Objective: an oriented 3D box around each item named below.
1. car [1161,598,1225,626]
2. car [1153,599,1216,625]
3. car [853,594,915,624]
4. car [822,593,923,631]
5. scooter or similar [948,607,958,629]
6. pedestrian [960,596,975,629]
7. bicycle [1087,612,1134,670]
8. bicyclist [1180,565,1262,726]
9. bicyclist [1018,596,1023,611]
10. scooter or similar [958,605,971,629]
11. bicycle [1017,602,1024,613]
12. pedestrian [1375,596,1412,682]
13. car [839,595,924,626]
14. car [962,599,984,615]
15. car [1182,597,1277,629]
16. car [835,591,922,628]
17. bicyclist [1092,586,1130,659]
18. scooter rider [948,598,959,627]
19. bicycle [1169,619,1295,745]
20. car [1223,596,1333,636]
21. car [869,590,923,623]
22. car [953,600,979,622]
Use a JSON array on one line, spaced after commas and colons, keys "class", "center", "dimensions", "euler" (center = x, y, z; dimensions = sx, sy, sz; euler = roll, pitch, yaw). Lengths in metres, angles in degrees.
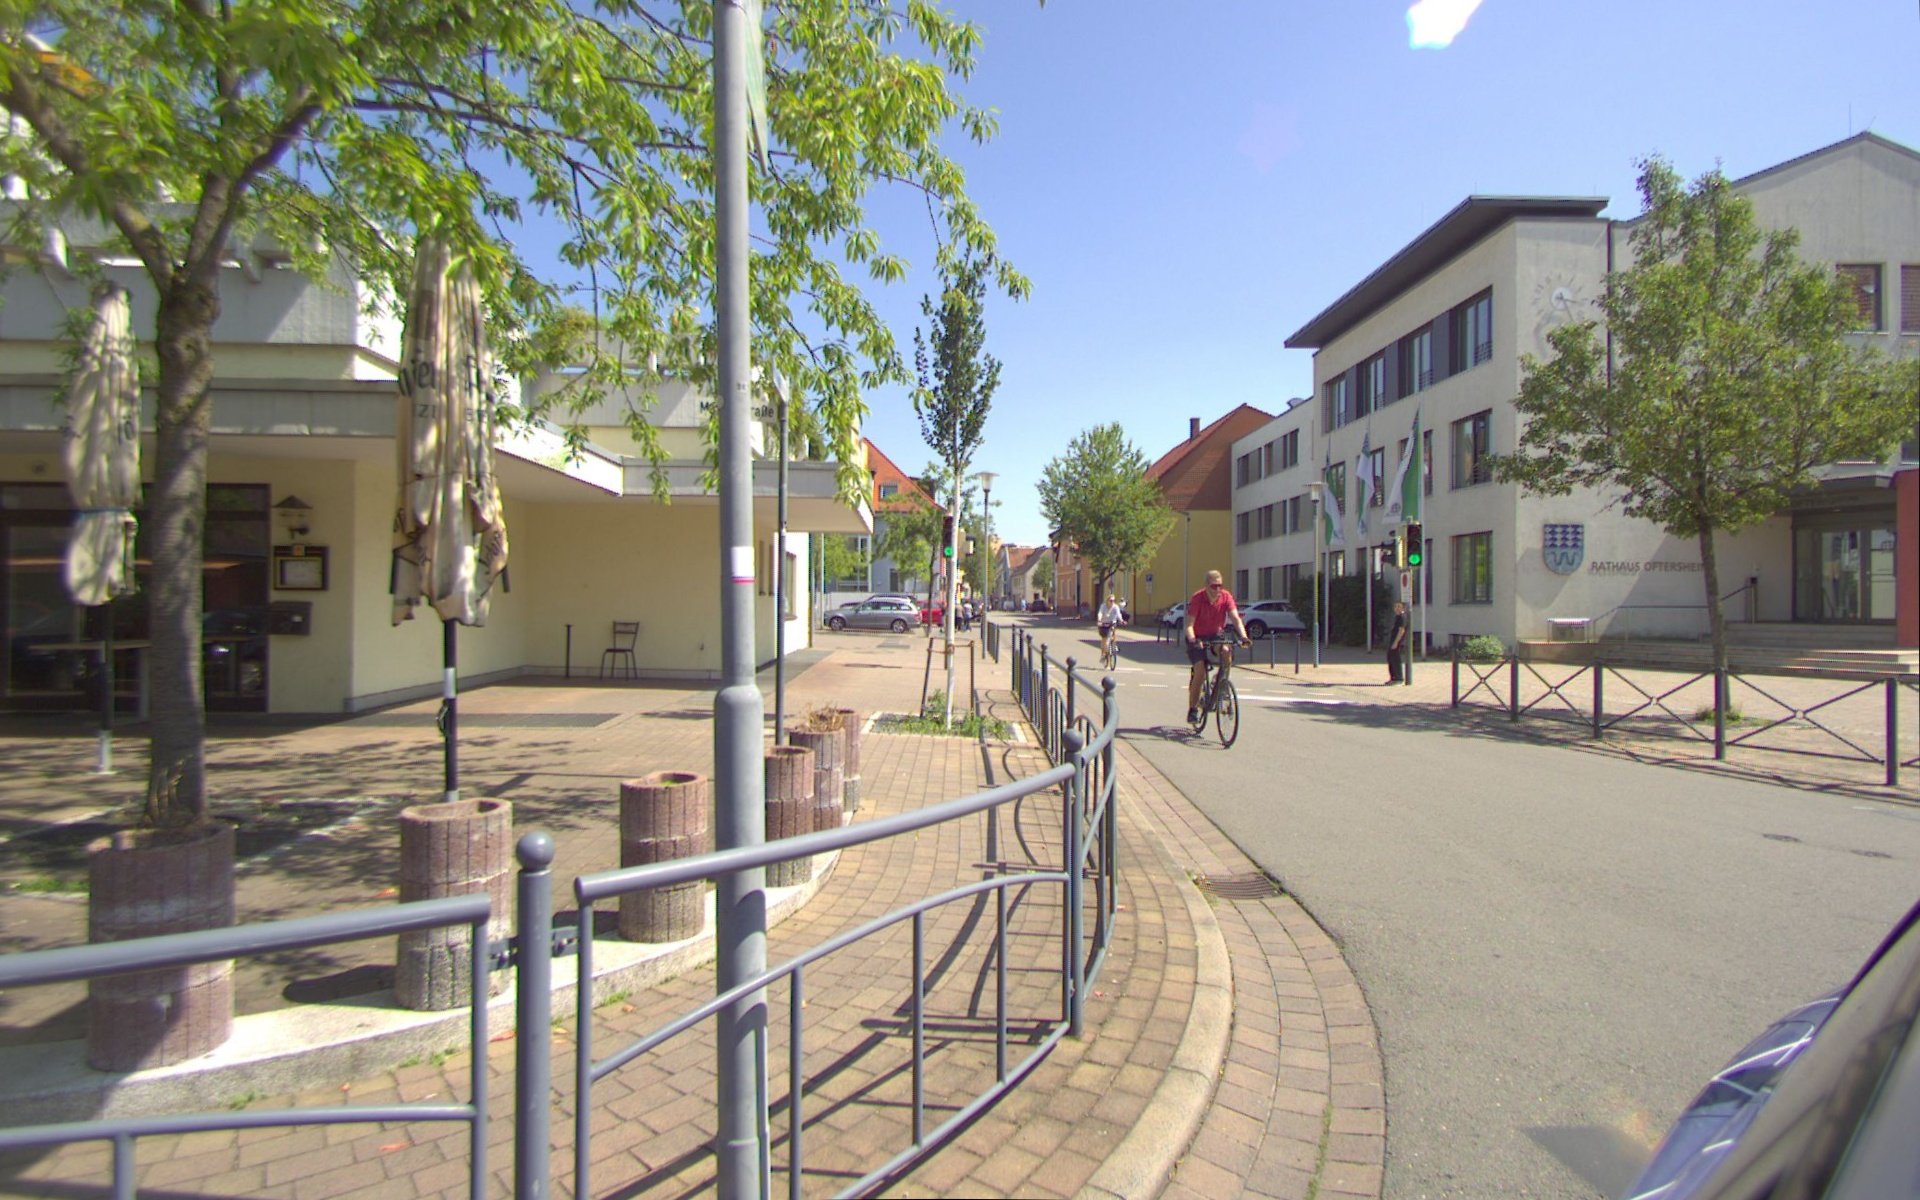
[{"class": "car", "center": [12.663, 0.655, 55.200], "dimensions": [3.083, 1.468, 1.642], "euler": [-1, 0, 2]}, {"class": "car", "center": [12.710, 0.670, 57.409], "dimensions": [3.198, 1.419, 1.374], "euler": [-1, 0, 0]}, {"class": "car", "center": [-4.186, 0.468, 55.723], "dimensions": [3.364, 1.572, 1.491], "euler": [1, 0, -4]}, {"class": "car", "center": [-3.890, 0.539, 45.030], "dimensions": [4.358, 1.484, 1.692], "euler": [2, 0, -5]}, {"class": "scooter or similar", "center": [-0.314, 0.849, 47.613], "dimensions": [0.404, 0.978, 0.959], "euler": [1, -2, 3]}, {"class": "pedestrian", "center": [0.370, 0.597, 48.599], "dimensions": [0.502, 1.535, 1.050], "euler": [2, -1, -8]}, {"class": "bicycle", "center": [3.366, 0.897, 22.796], "dimensions": [0.676, 1.204, 1.800], "euler": [2, 0, -3]}, {"class": "bicyclist", "center": [2.899, 0.485, 11.290], "dimensions": [0.689, 1.738, 0.760], "euler": [0, 0, -2]}, {"class": "bicyclist", "center": [6.614, 0.386, 110.323], "dimensions": [0.528, 1.660, 0.551], "euler": [1, -1, -1]}, {"class": "scooter or similar", "center": [0.236, 0.826, 49.559], "dimensions": [0.496, 1.133, 0.910], "euler": [2, 0, -7]}, {"class": "bicycle", "center": [6.574, 0.825, 110.400], "dimensions": [0.583, 1.204, 1.726], "euler": [0, 0, -1]}, {"class": "pedestrian", "center": [8.490, 0.740, 19.812], "dimensions": [0.546, 1.639, 0.550], "euler": [1, 0, 35]}, {"class": "car", "center": [-4.161, 0.527, 53.306], "dimensions": [4.356, 1.461, 1.658], "euler": [2, 0, -7]}, {"class": "car", "center": [1.141, 0.598, 90.112], "dimensions": [1.500, 1.322, 3.253], "euler": [2, 0, -5]}, {"class": "car", "center": [13.298, 0.627, 49.995], "dimensions": [4.246, 1.497, 1.513], "euler": [-1, 0, 1]}, {"class": "car", "center": [-3.878, 0.459, 47.899], "dimensions": [3.966, 1.579, 1.714], "euler": [2, 0, -5]}, {"class": "bicyclist", "center": [3.387, 0.491, 22.820], "dimensions": [0.689, 1.601, 0.878], "euler": [0, 0, -2]}, {"class": "scooter rider", "center": [-0.289, 0.567, 47.523], "dimensions": [0.454, 1.341, 1.132], "euler": [1, 0, 2]}, {"class": "bicycle", "center": [2.923, 0.840, 11.114], "dimensions": [0.724, 1.204, 1.972], "euler": [2, 0, -3]}, {"class": "car", "center": [13.055, 0.640, 41.734], "dimensions": [3.923, 1.567, 1.749], "euler": [-1, 0, 0]}, {"class": "car", "center": [-3.665, 0.382, 57.856], "dimensions": [2.981, 1.759, 1.346], "euler": [2, 0, -4]}, {"class": "car", "center": [0.395, 0.728, 70.349], "dimensions": [1.500, 1.471, 3.525], "euler": [1, 0, -5]}]
